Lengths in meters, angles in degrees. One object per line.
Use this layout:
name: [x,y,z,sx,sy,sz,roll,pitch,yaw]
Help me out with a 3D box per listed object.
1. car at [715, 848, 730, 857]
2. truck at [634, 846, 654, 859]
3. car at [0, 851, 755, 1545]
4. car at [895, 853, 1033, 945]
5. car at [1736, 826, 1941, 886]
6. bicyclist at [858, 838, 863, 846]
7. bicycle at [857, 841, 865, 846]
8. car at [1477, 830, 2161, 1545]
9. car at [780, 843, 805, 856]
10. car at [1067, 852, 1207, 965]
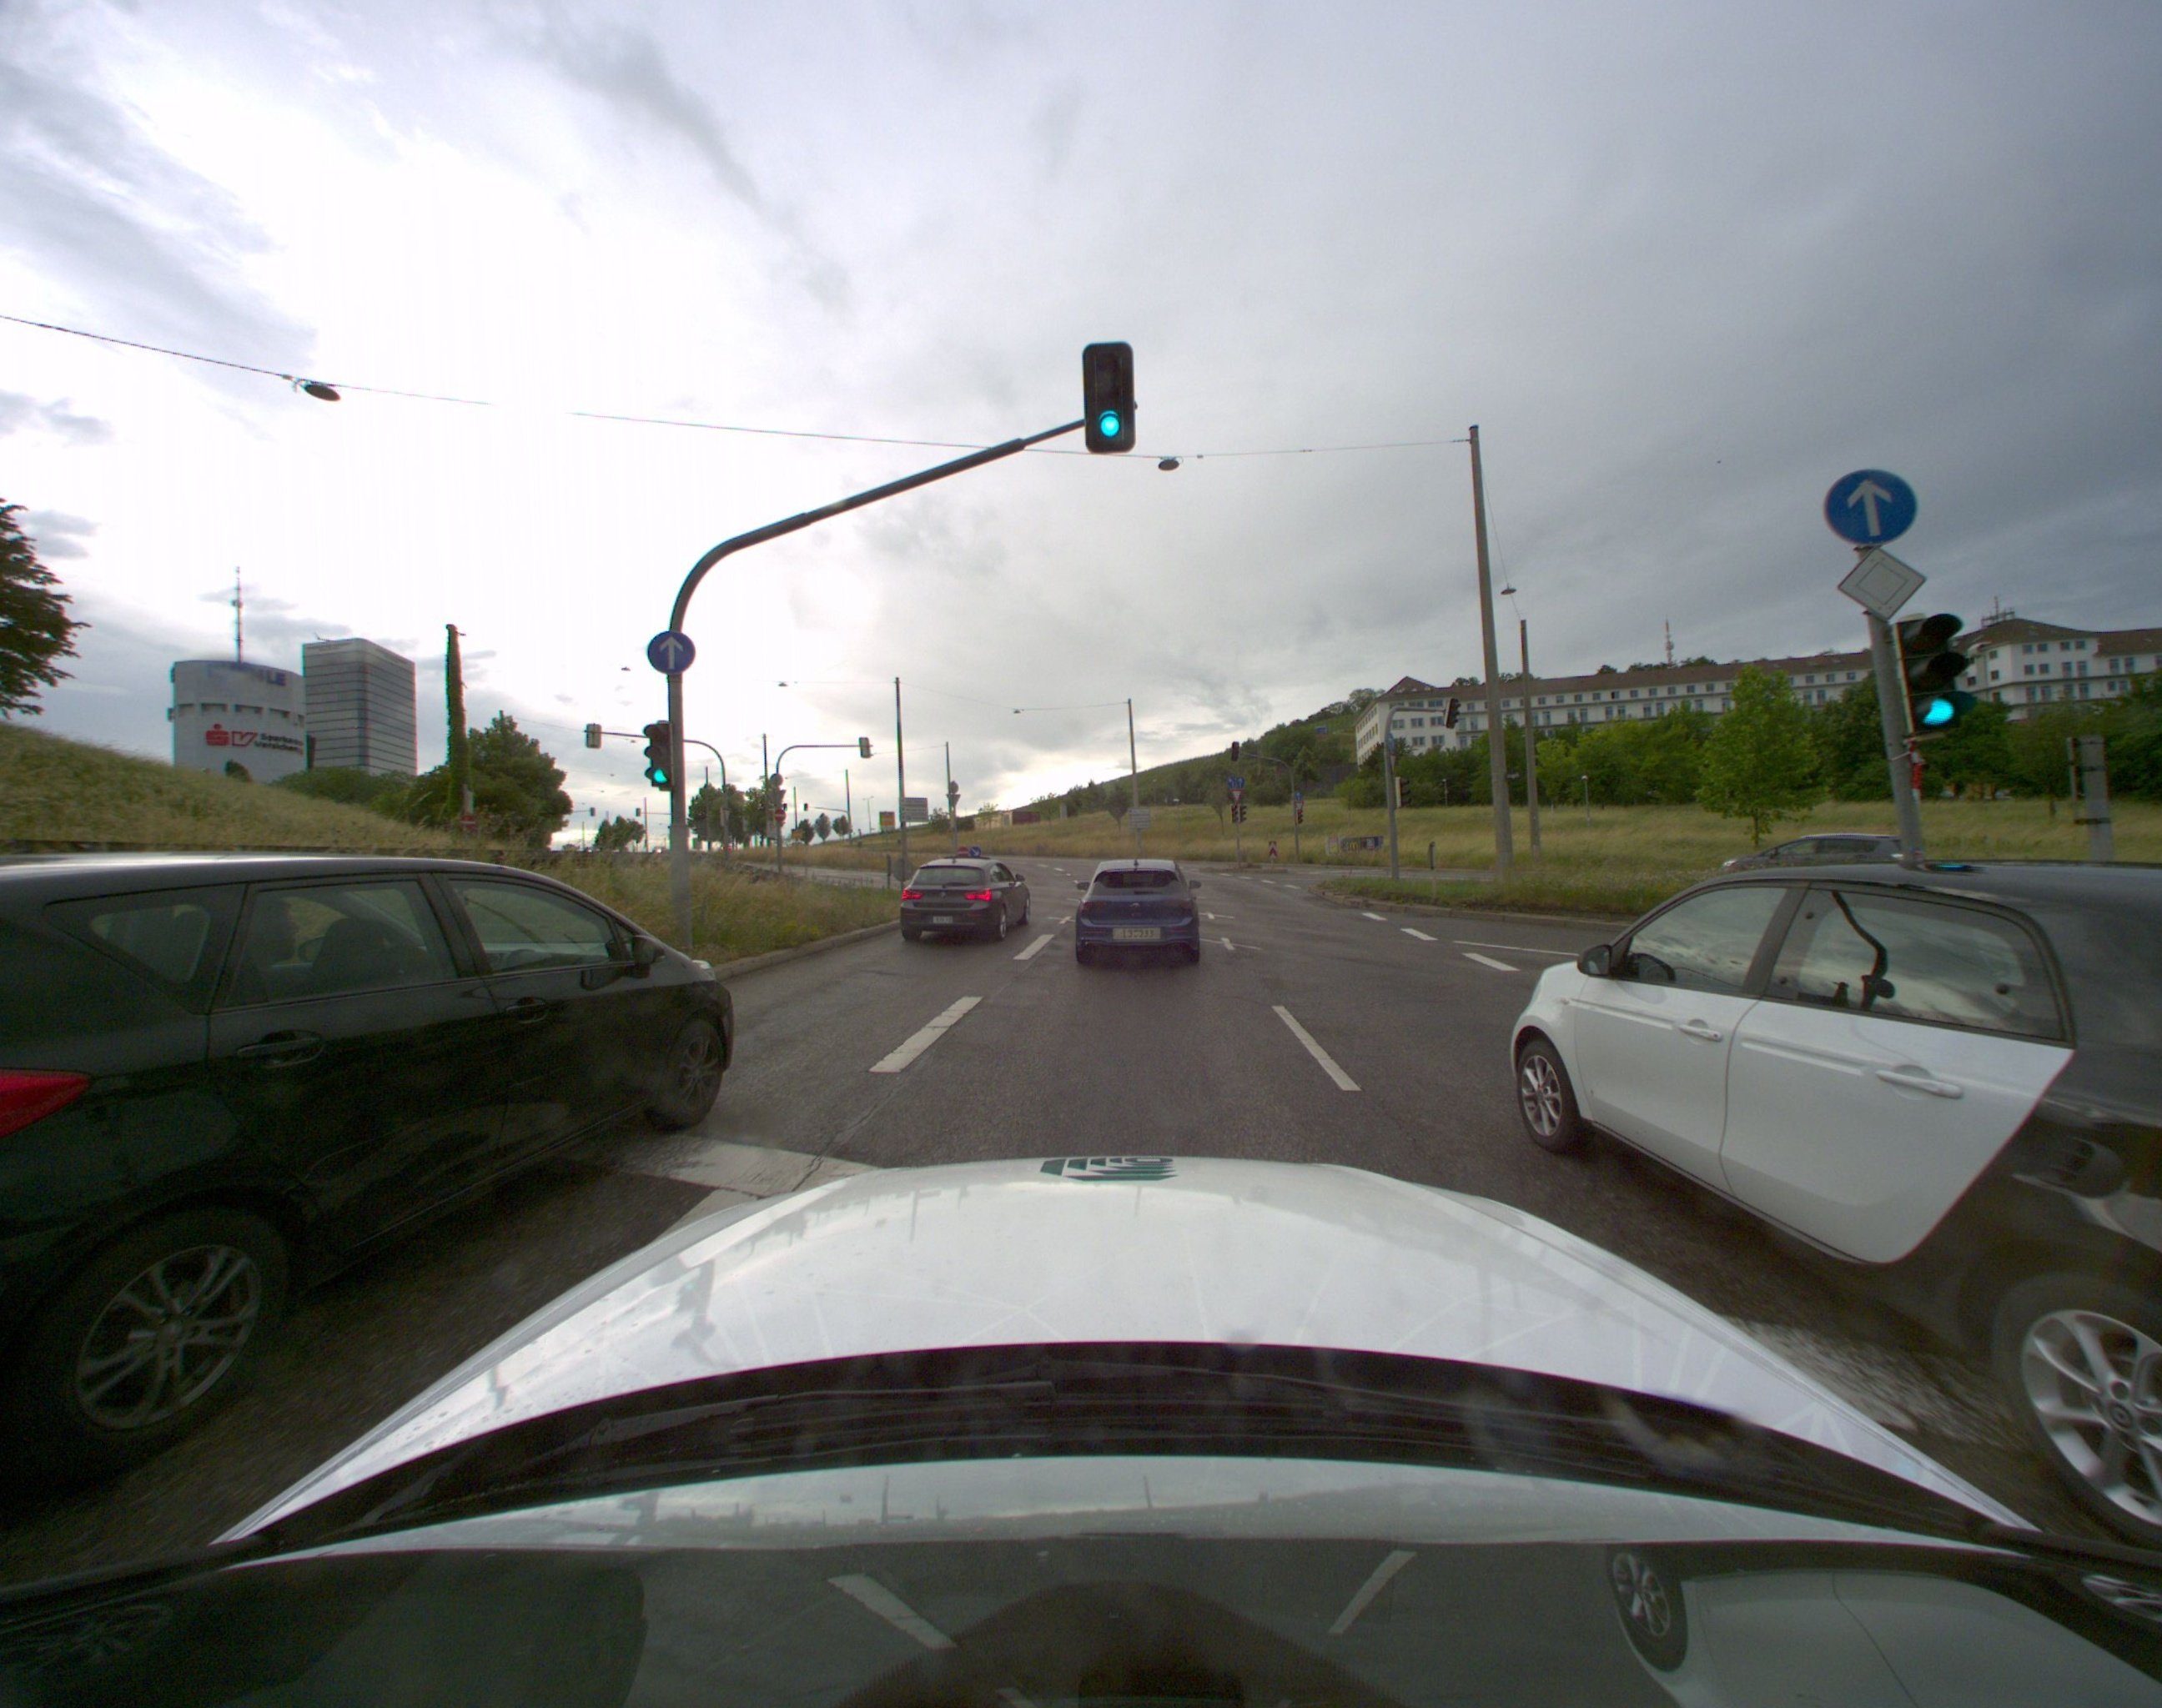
car: [-65.010,-0.283,147.628,2.006,1.637,4.378,2,-1,-30]
truck: [-110.786,-0.439,206.274,3.284,3.075,6.105,2,-1,-39]
car: [-3.079,0.766,3.430,1.634,1.504,3.782,1,0,4]
car: [-2.059,0.745,15.501,1.695,1.459,4.119,-2,0,4]
car: [21.420,0.103,23.169,2.008,1.537,3.917,0,-2,-35]
bicyclist: [-32.600,-1.783,120.492,0.527,1.047,0.574,2,-1,-35]
bicycle: [-32.511,-1.519,120.356,0.522,0.775,1.604,0,0,-35]
car: [3.138,0.716,3.104,1.651,1.503,3.452,-1,-1,2]
car: [-37.629,-0.580,106.204,2.007,1.618,4.802,0,0,-33]
car: [0.873,0.752,12.774,1.817,1.461,3.812,-2,-1,4]
